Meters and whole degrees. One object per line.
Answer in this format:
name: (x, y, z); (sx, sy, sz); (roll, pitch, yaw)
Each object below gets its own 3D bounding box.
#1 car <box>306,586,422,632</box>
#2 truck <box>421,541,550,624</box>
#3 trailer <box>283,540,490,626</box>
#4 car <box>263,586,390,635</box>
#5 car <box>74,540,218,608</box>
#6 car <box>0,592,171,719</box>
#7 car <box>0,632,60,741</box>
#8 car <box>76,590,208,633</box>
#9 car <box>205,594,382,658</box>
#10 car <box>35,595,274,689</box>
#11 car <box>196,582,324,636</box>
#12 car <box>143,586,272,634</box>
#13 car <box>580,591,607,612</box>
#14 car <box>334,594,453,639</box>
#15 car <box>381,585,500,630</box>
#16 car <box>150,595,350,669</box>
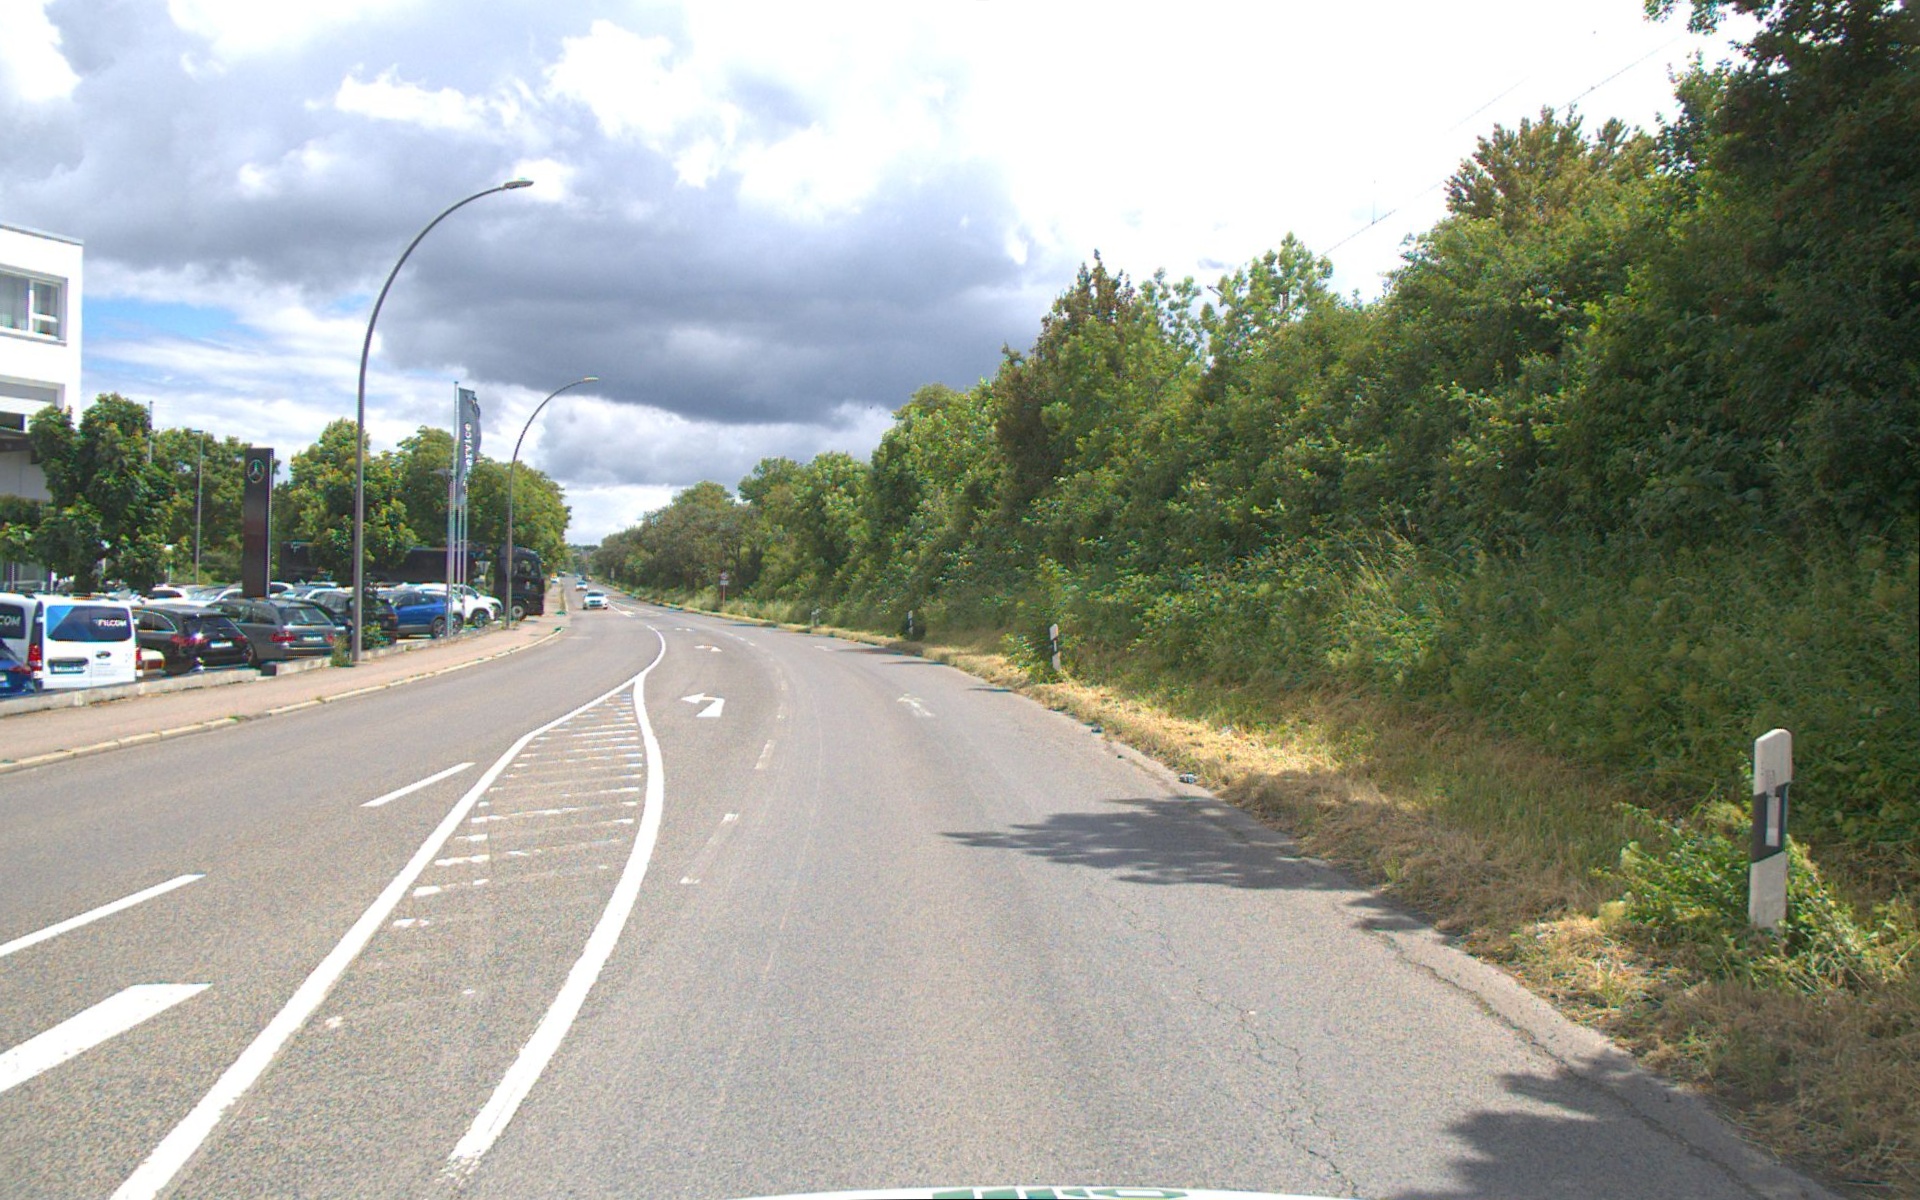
car: (-22.901, 0.339, 63.692); (1.954, 1.682, 3.997); (1, 0, 24)
truck: (-24.577, -0.952, 85.661); (6.040, 4.165, 2.804); (-1, 1, -25)
trailer: (-28.901, -0.917, 83.474); (9.605, 4.165, 2.802); (-1, 1, -27)
car: (-22.623, 0.395, 59.215); (1.954, 1.660, 3.997); (1, 0, 25)
car: (-43.091, -1.304, 87.891); (3.133, 3.394, 8.185); (1, 0, 3)
car: (-14.131, 0.767, 24.778); (3.895, 1.730, 2.172); (1, 0, 25)
car: (-14.369, 1.099, 22.201); (4.108, 1.373, 1.936); (1, 0, 25)
car: (-30.191, 0.427, 61.159); (1.954, 1.480, 3.997); (1, 0, 25)
car: (-16.385, 0.616, 40.622); (4.108, 1.426, 1.659); (1, 0, 25)
car: (-15.558, 0.777, 31.953); (4.108, 1.629, 1.980); (1, 0, 25)
car: (-25.276, 0.340, 59.854); (1.954, 1.862, 3.997); (1, 0, 25)
car: (-27.618, 0.386, 60.809); (1.954, 1.673, 3.997); (1, 0, 25)
car: (-28.427, 0.075, 128.347); (1.959, 1.564, 3.986); (1, 0, -14)
car: (-19.767, 0.579, 57.886); (1.593, 1.501, 3.997); (1, 0, 25)
car: (-21.439, 0.320, 68.339); (4.276, 1.793, 1.970); (1, 0, -42)
car: (-15.878, 0.699, 36.985); (4.108, 1.505, 1.794); (1, 0, 25)
